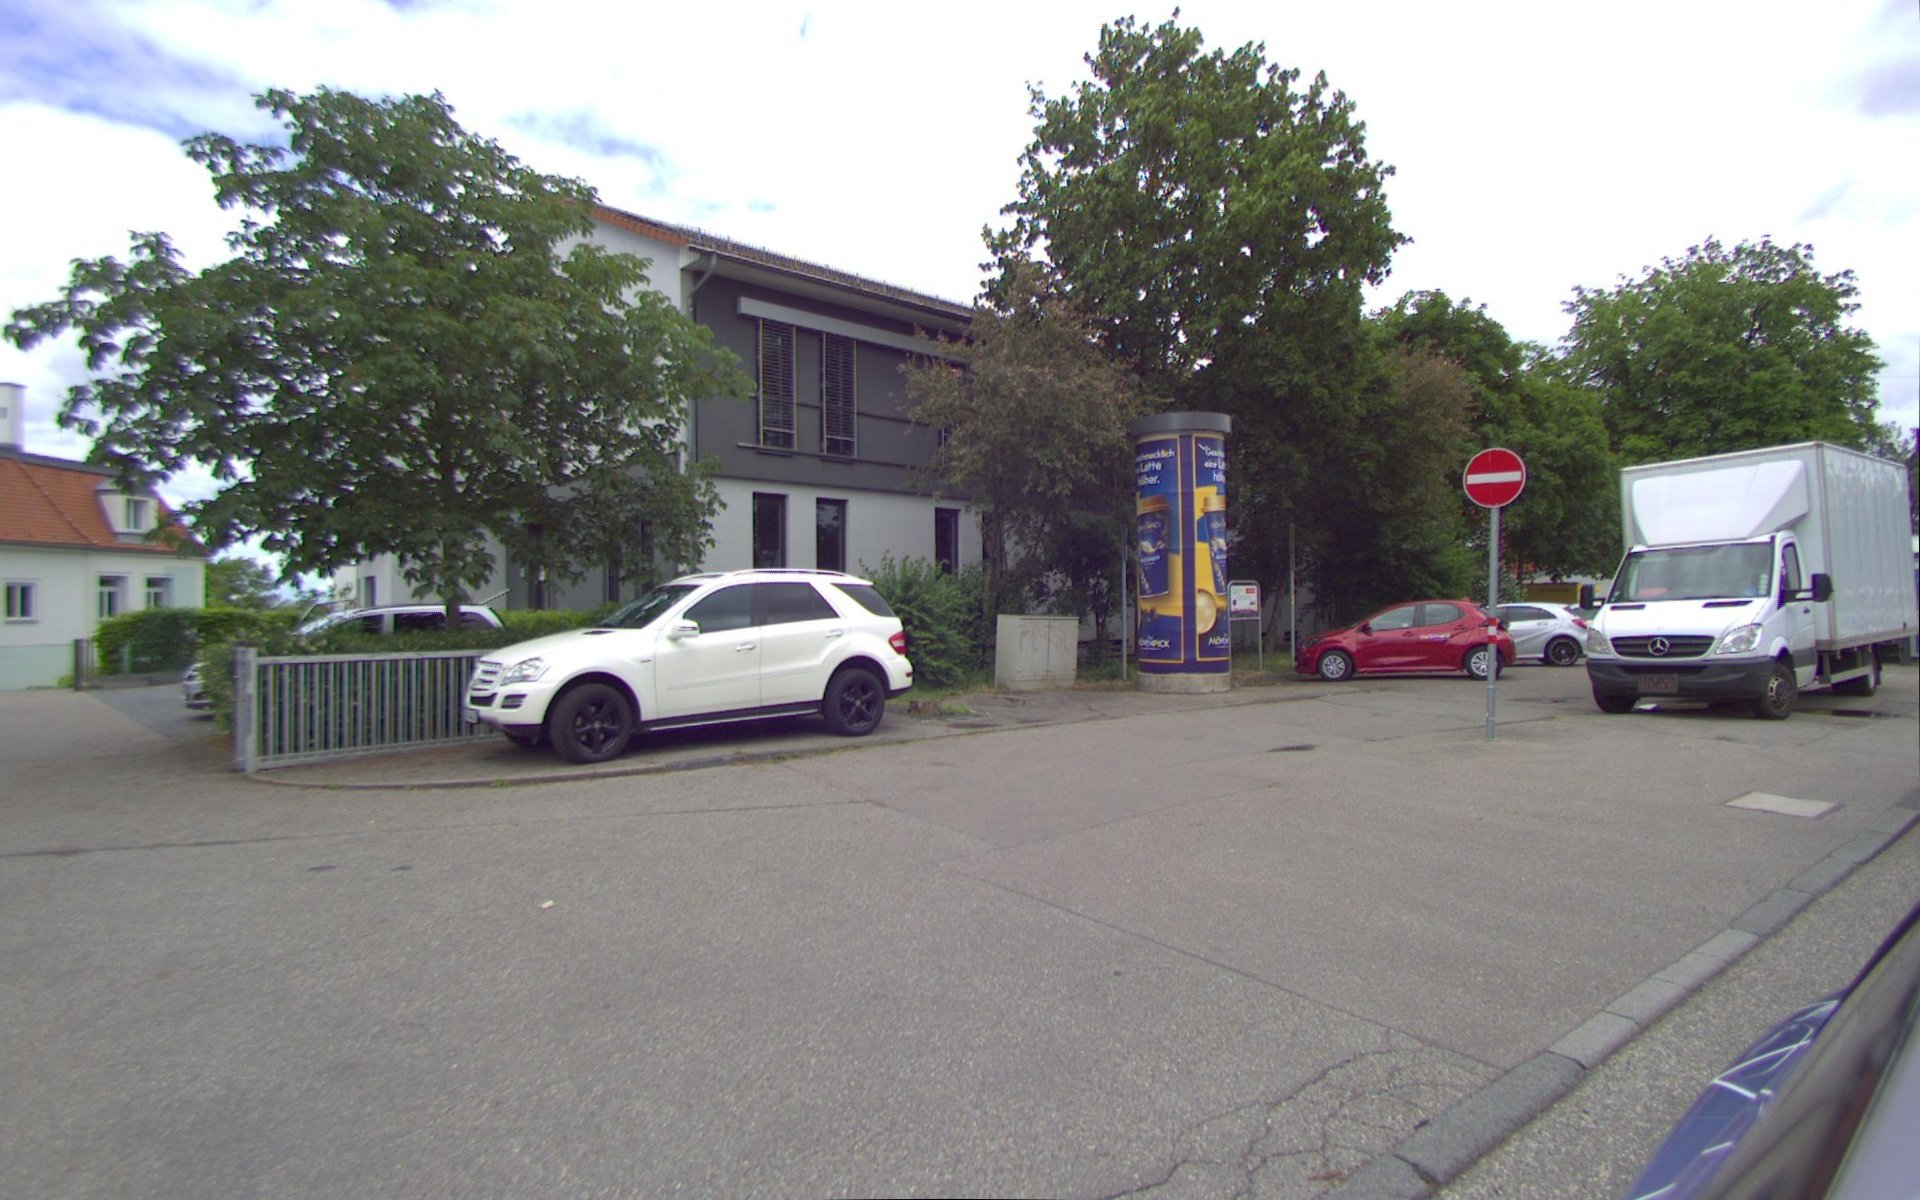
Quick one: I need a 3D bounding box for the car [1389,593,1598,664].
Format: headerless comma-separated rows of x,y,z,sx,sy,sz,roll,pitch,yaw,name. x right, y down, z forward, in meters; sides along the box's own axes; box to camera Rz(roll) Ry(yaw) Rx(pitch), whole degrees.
11.973,0.642,22.993,3.950,1.428,1.514,-3,-1,21,car

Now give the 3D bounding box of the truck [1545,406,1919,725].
11.356,-0.441,14.334,7.633,3.469,2.541,-1,0,-37,truck

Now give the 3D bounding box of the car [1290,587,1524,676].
8.443,0.609,19.262,3.860,1.502,1.667,-3,-1,28,car

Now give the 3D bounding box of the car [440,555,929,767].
-2.739,0.498,10.685,4.637,1.780,1.856,-1,0,-39,car

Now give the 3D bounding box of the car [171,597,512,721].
-9.241,0.773,15.368,1.616,1.502,4.151,-1,1,45,car
